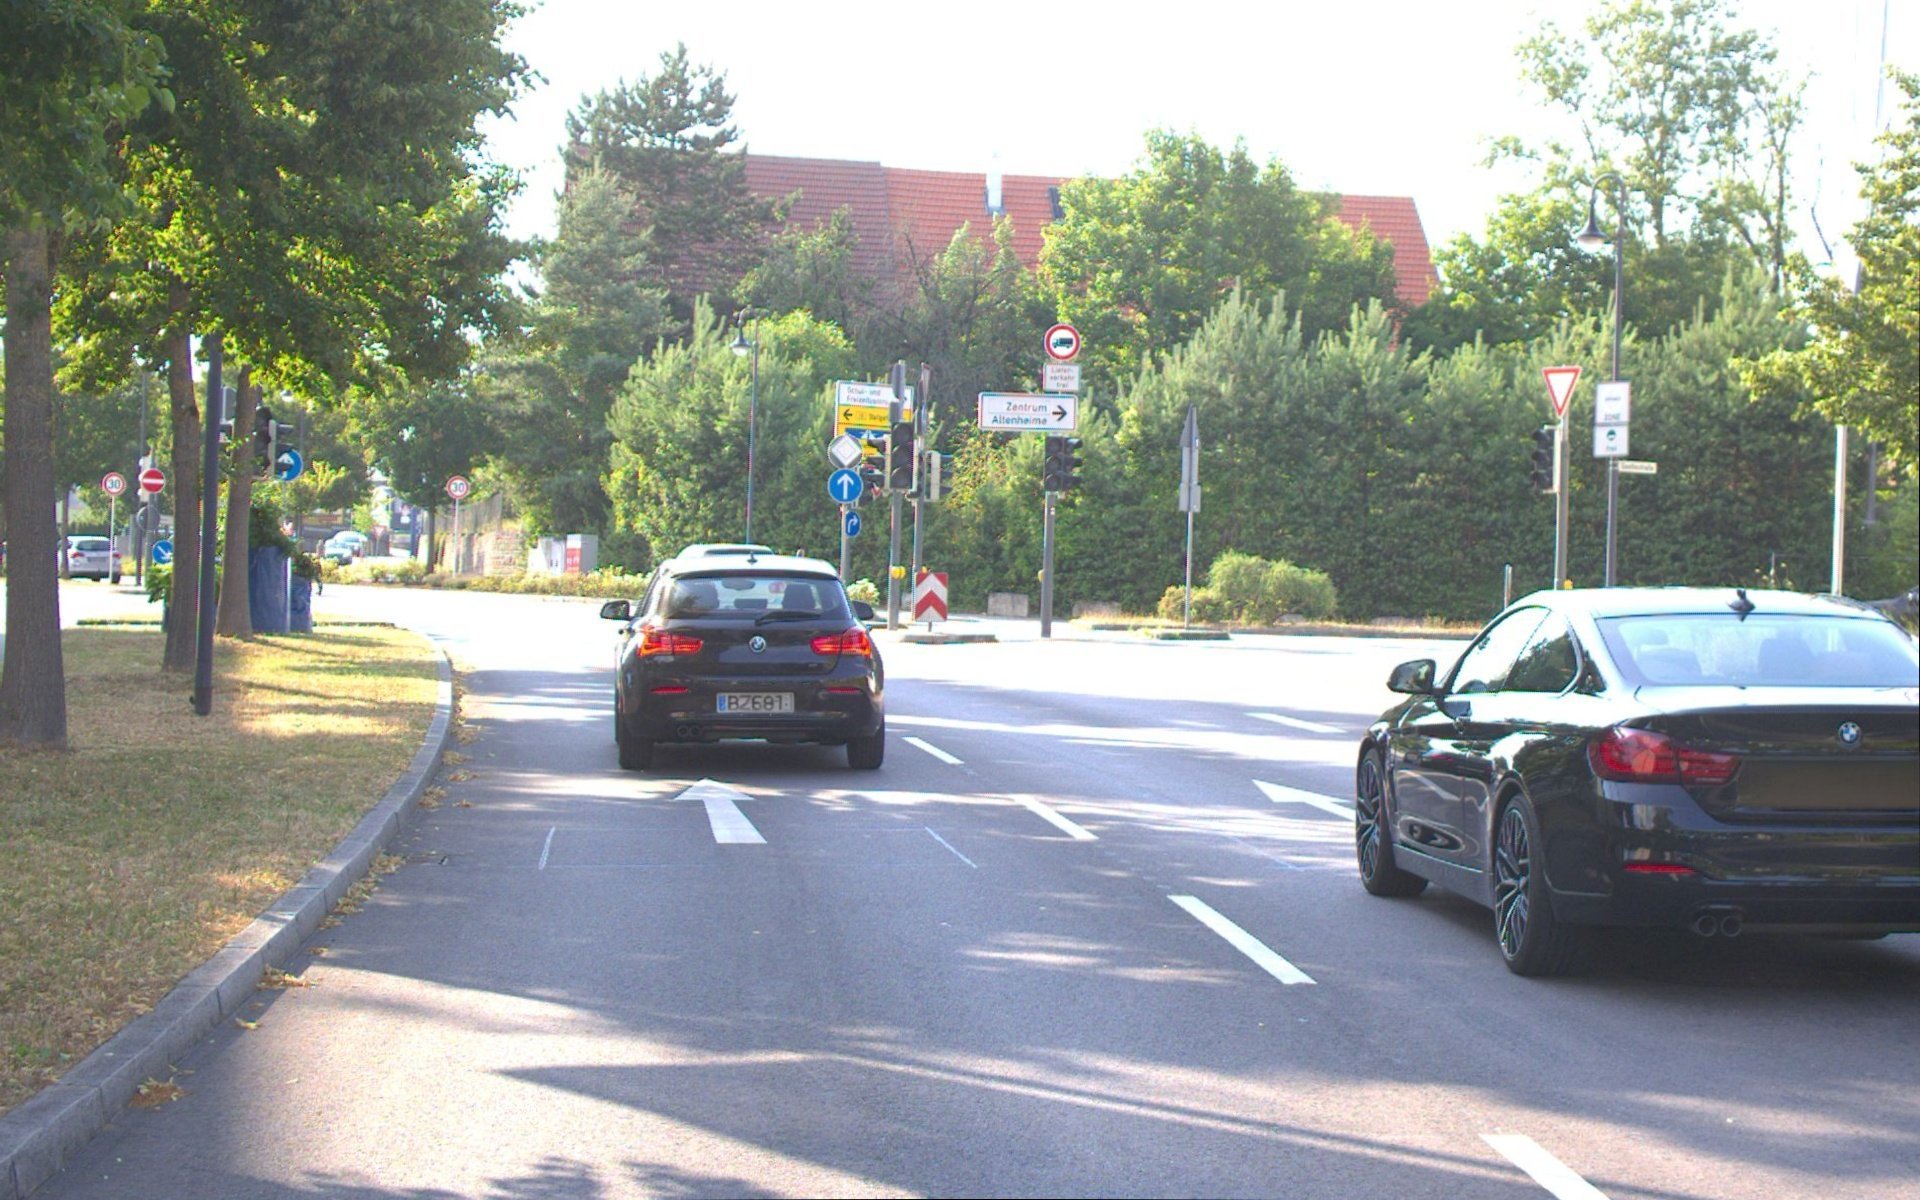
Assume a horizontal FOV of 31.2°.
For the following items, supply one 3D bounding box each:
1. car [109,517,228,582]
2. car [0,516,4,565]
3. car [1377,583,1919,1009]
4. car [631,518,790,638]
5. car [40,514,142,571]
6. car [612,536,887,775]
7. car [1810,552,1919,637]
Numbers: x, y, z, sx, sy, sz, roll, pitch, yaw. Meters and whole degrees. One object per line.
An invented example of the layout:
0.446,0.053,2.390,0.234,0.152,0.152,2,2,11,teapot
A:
-22.142,-1.420,96.063,2.216,1.763,4.455,1,1,-27,car
-36.709,-2.201,126.316,2.216,1.763,4.455,1,1,-27,car
2.861,0.632,13.390,1.920,1.359,4.353,1,0,0,car
-3.945,-0.360,53.749,1.924,1.763,4.455,1,1,-11,car
-27.814,-1.842,109.975,2.216,1.763,4.455,1,1,-27,car
-1.484,0.332,24.155,1.721,1.485,4.353,1,1,-4,car
18.395,-0.087,64.900,4.263,1.561,1.790,2,1,25,car
